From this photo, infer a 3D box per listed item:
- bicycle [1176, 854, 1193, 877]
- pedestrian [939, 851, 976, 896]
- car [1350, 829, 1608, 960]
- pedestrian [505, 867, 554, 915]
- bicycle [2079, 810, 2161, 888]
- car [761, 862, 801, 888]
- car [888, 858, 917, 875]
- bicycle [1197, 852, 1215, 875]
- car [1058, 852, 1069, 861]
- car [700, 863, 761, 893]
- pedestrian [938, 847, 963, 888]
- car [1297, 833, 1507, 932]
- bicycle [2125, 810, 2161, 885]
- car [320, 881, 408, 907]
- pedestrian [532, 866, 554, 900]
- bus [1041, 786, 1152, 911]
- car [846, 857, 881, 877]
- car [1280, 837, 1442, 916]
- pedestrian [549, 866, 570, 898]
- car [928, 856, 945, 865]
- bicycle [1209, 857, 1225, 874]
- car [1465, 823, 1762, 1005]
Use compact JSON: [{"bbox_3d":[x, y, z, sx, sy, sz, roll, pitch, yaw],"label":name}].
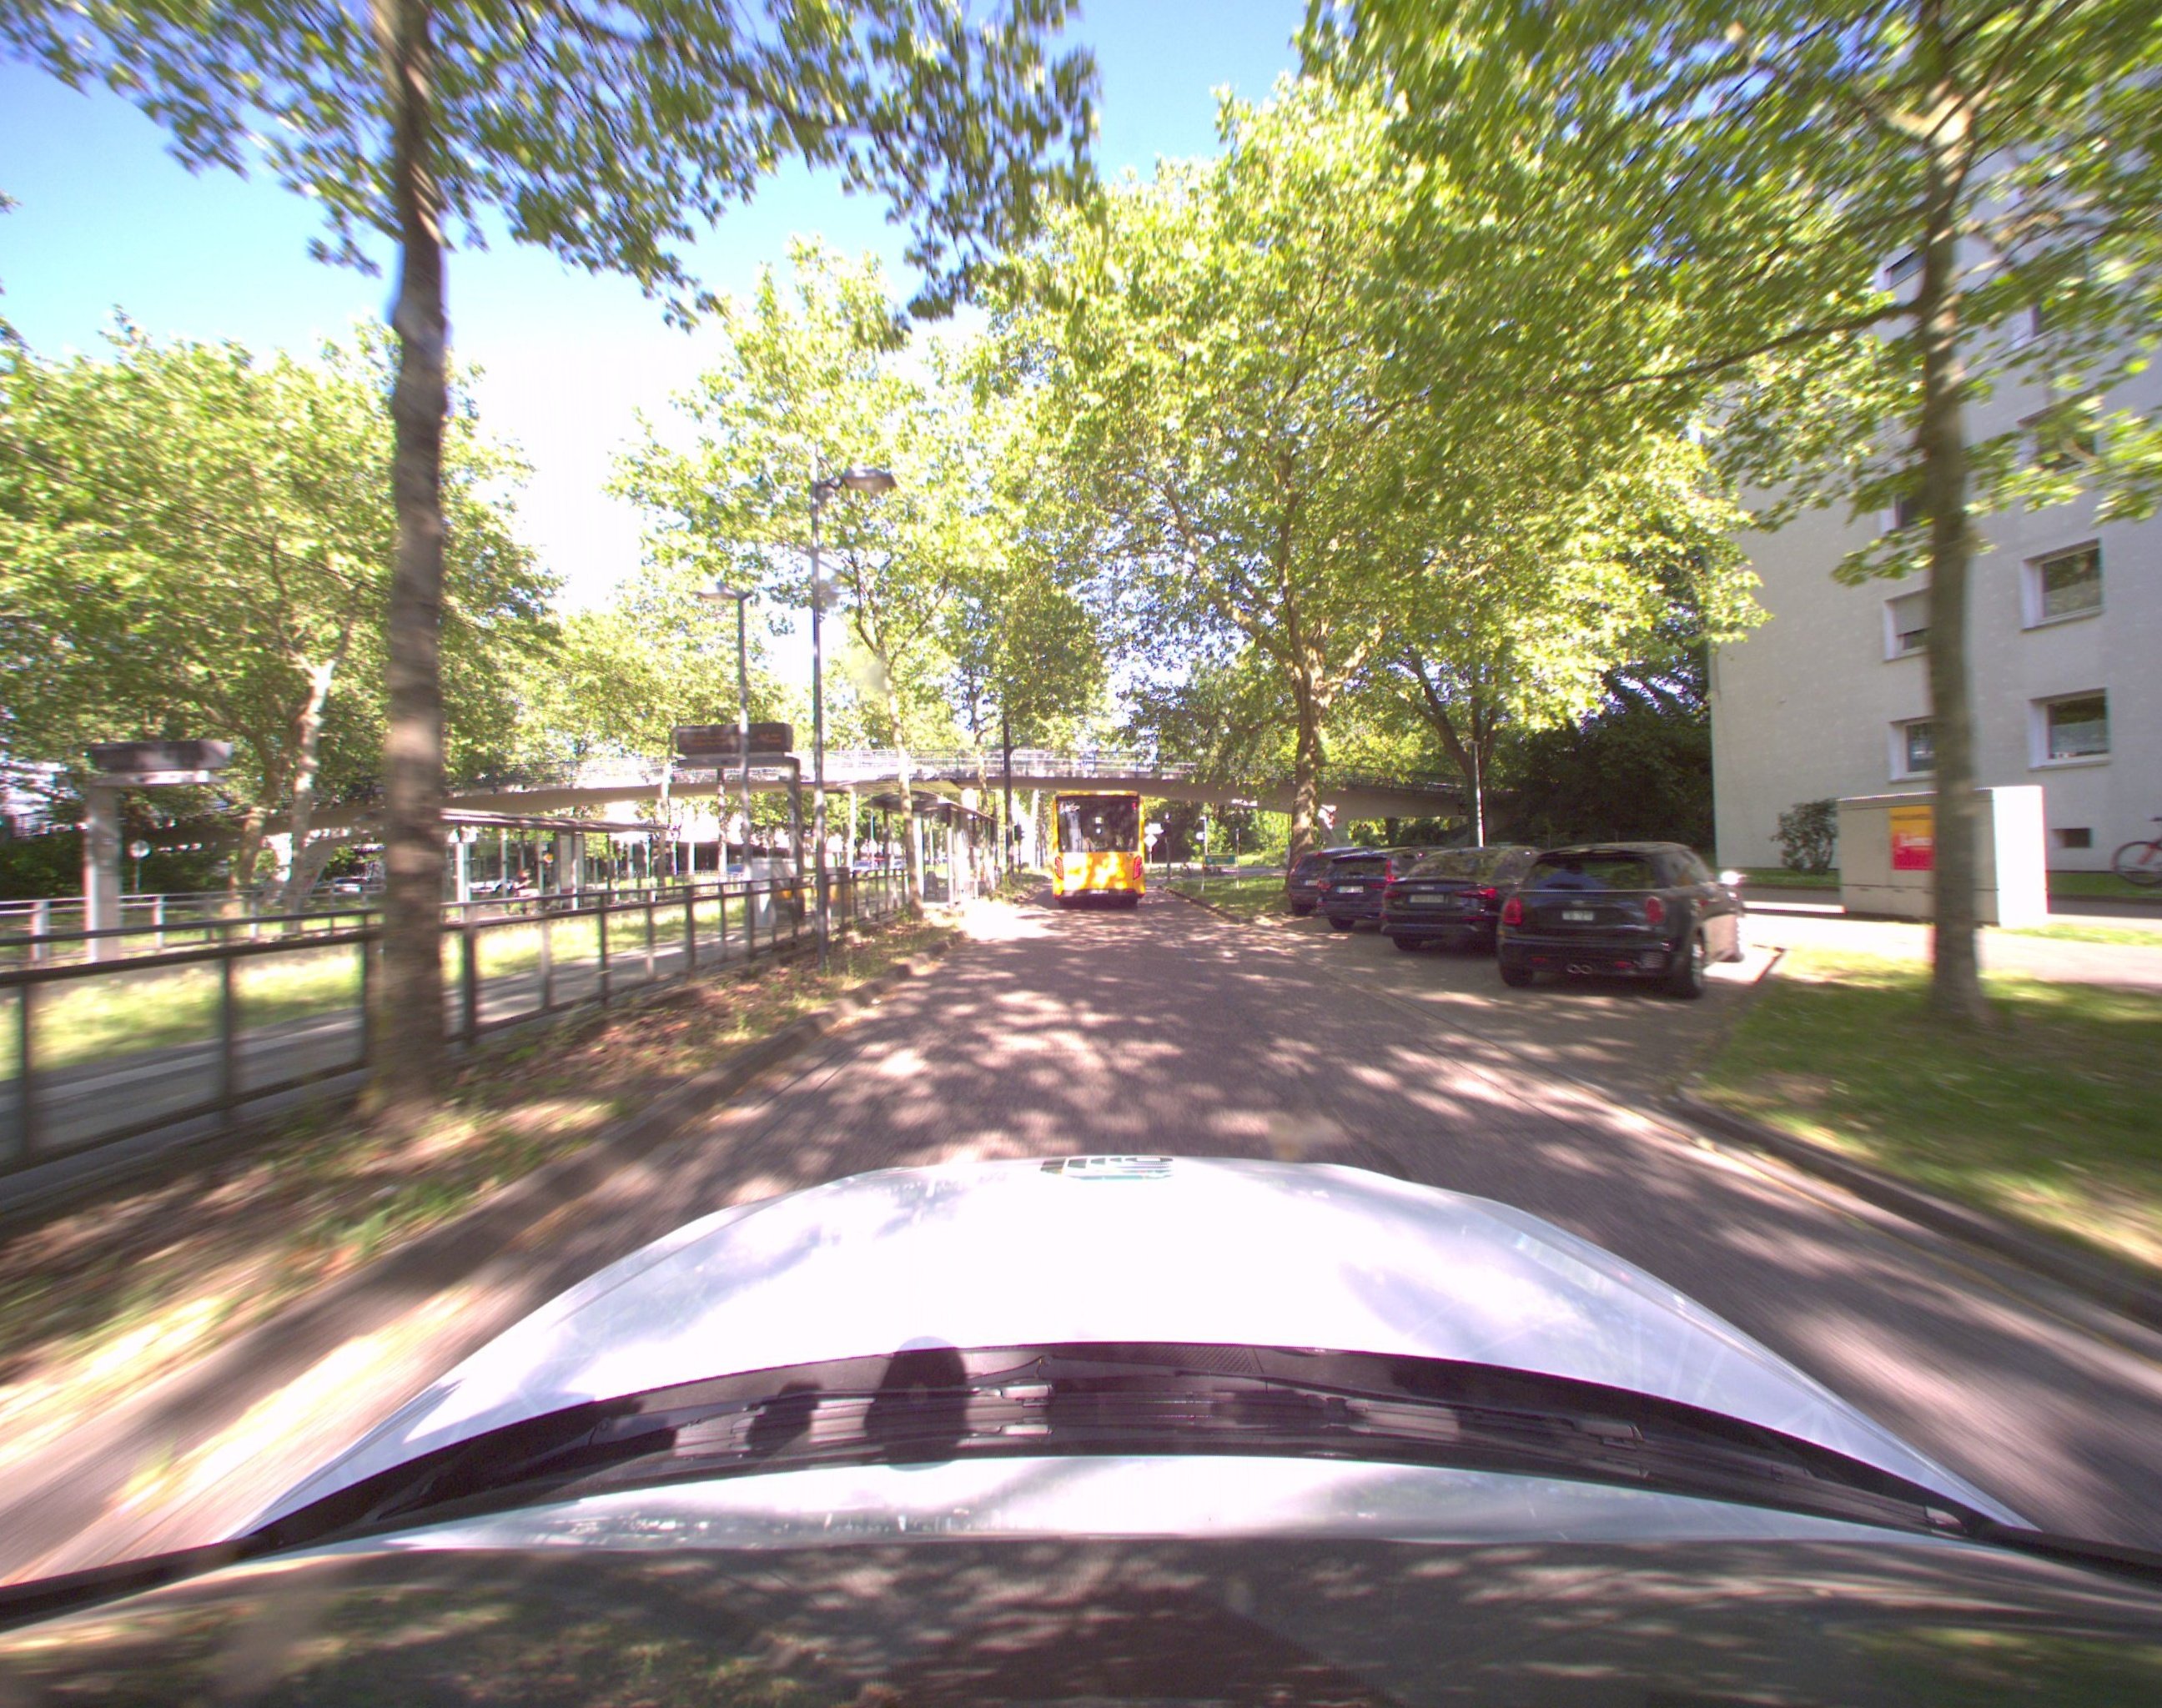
[{"bbox_3d":[5.595,0.616,44.109,0.588,1.182,1.800,-5,1,0],"label":"bicycle"},{"bbox_3d":[-3.478,0.548,22.986,0.851,1.243,0.850,-1,0,2],"label":"pedestrian"},{"bbox_3d":[6.017,0.491,12.079,4.279,1.461,1.779,-4,0,-40],"label":"car"},{"bbox_3d":[-14.765,0.982,21.812,0.775,1.238,0.722,-2,0,-1],"label":"pedestrian"},{"bbox_3d":[15.557,-0.082,11.547,0.588,1.107,1.800,-2,0,0],"label":"bicycle"},{"bbox_3d":[-19.551,1.321,52.935,1.805,1.566,4.248,-2,0,-29],"label":"car"},{"bbox_3d":[-17.186,1.198,78.539,1.789,1.510,4.672,-2,0,-2],"label":"car"},{"bbox_3d":[6.747,0.509,44.056,0.588,1.182,1.800,-5,1,0],"label":"bicycle"},{"bbox_3d":[-3.353,0.555,157.040,1.979,1.643,4.135,1,1,2],"label":"car"},{"bbox_3d":[-20.252,1.358,47.264,1.790,1.566,4.283,-2,0,-3],"label":"car"},{"bbox_3d":[-4.606,0.464,28.764,0.722,1.417,0.682,-1,0,0],"label":"pedestrian"},{"bbox_3d":[6.124,0.466,15.306,4.279,1.461,1.779,-4,0,-40],"label":"car"},{"bbox_3d":[16.285,-0.103,11.570,0.588,1.107,1.800,-2,0,0],"label":"bicycle"},{"bbox_3d":[-48.306,2.651,54.928,4.070,1.510,1.796,-2,0,-7],"label":"car"},{"bbox_3d":[-28.527,1.521,43.175,0.642,1.783,0.653,-2,0,21],"label":"pedestrian"},{"bbox_3d":[0.395,-0.142,27.914,2.891,3.266,12.214,-2,0,0],"label":"bus"},{"bbox_3d":[-19.318,1.141,72.482,1.788,1.580,4.288,-2,0,1],"label":"car"},{"bbox_3d":[6.416,0.464,18.448,4.024,1.461,1.778,-4,0,-44],"label":"car"},{"bbox_3d":[-28.242,1.530,44.093,0.642,1.705,0.653,-2,0,21],"label":"pedestrian"},{"bbox_3d":[-24.667,1.068,139.030,1.786,1.510,4.004,-2,0,4],"label":"car"},{"bbox_3d":[7.383,0.616,44.261,0.503,0.852,1.473,-5,1,0],"label":"bicycle"},{"bbox_3d":[6.058,0.507,9.065,4.023,1.468,1.761,-4,0,-43],"label":"car"}]
